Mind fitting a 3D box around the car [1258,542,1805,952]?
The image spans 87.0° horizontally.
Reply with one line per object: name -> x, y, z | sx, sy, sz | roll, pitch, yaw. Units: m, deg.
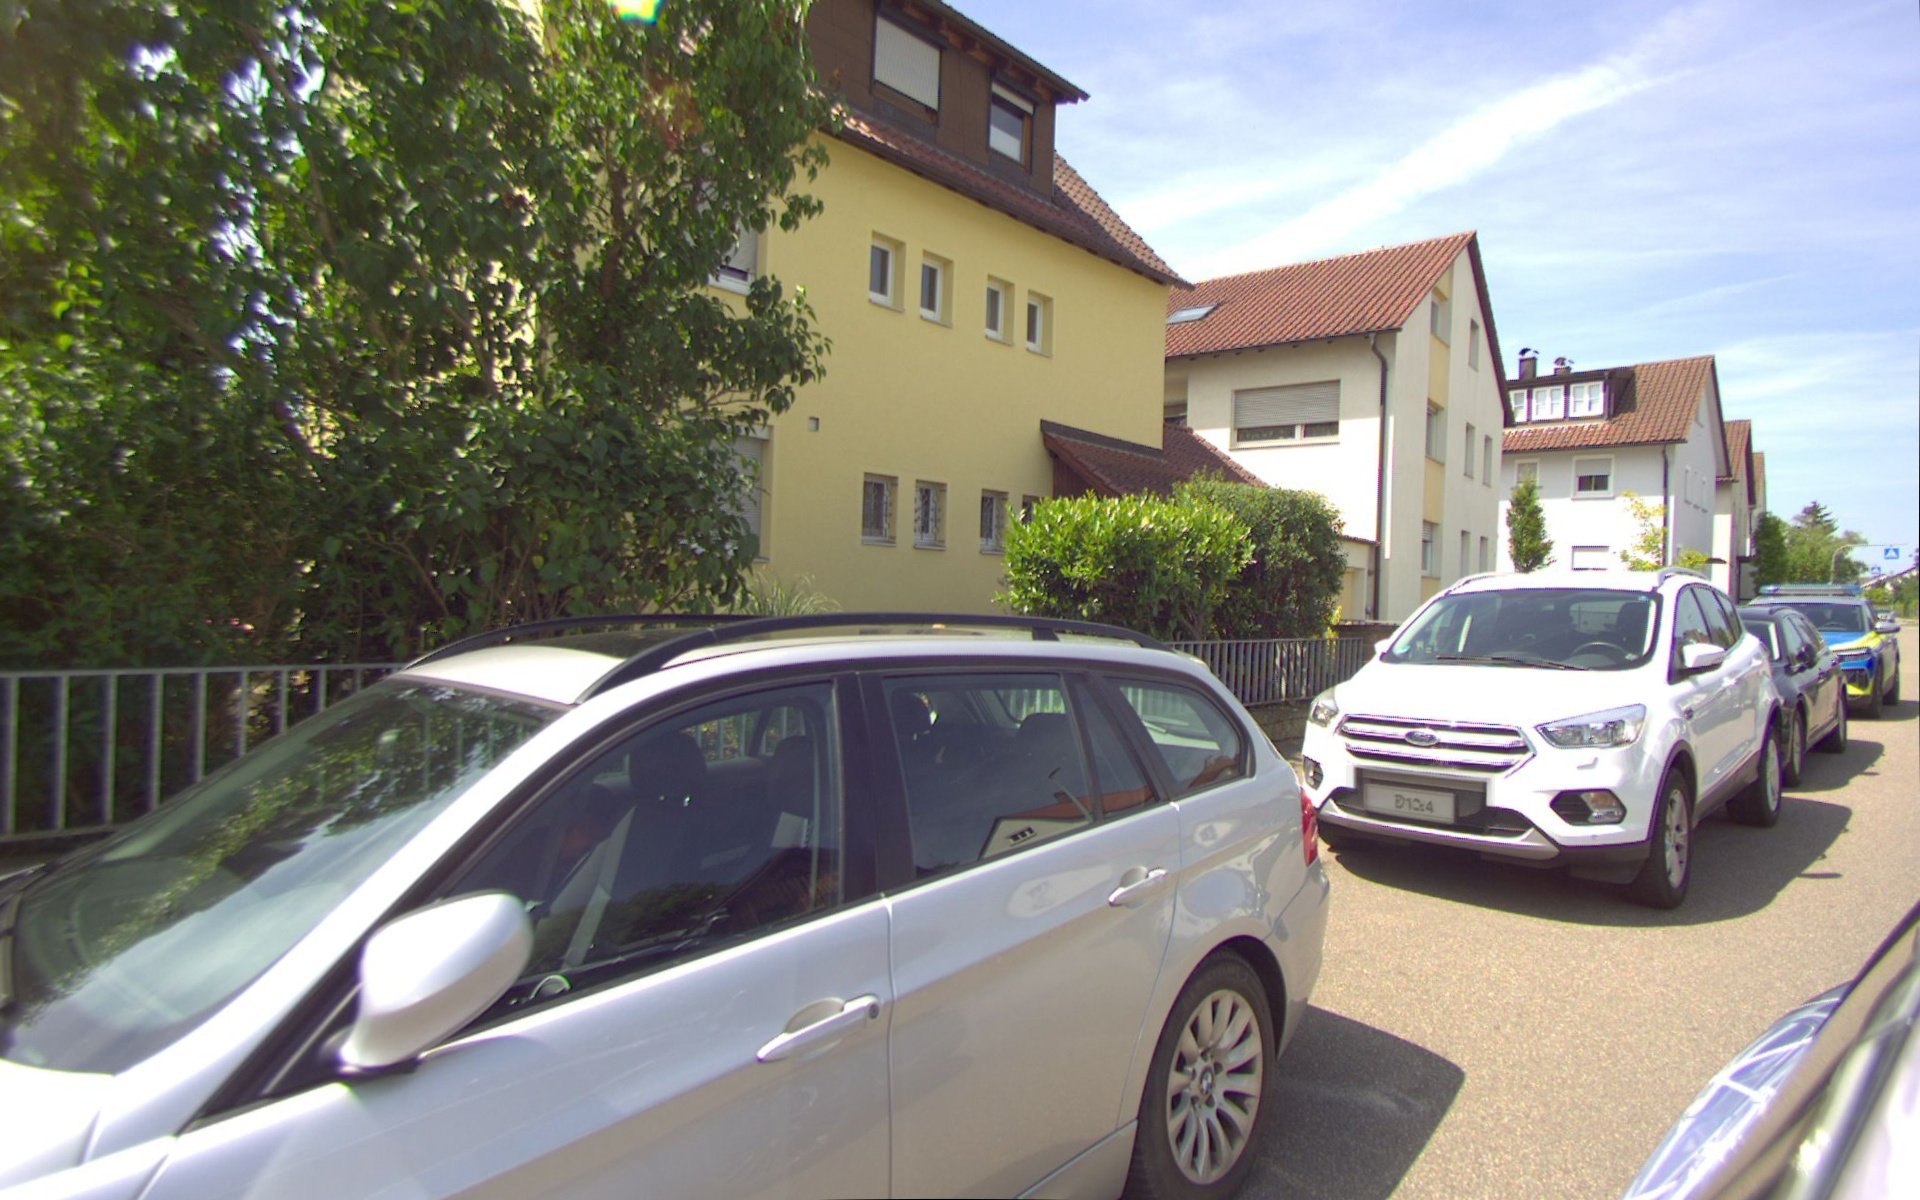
car -> 3.747, 0.608, 6.256 | 4.263, 1.683, 1.738 | 0, -1, -43

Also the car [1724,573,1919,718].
car -> 12.316, 0.563, 14.364 | 3.987, 1.771, 1.667 | 0, -1, -43

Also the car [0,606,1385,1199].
car -> -0.863, 0.742, 2.134 | 1.752, 1.439, 4.349 | -1, -1, 45

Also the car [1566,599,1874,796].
car -> 7.419, 0.742, 9.707 | 4.298, 1.487, 1.626 | 0, -1, -43
